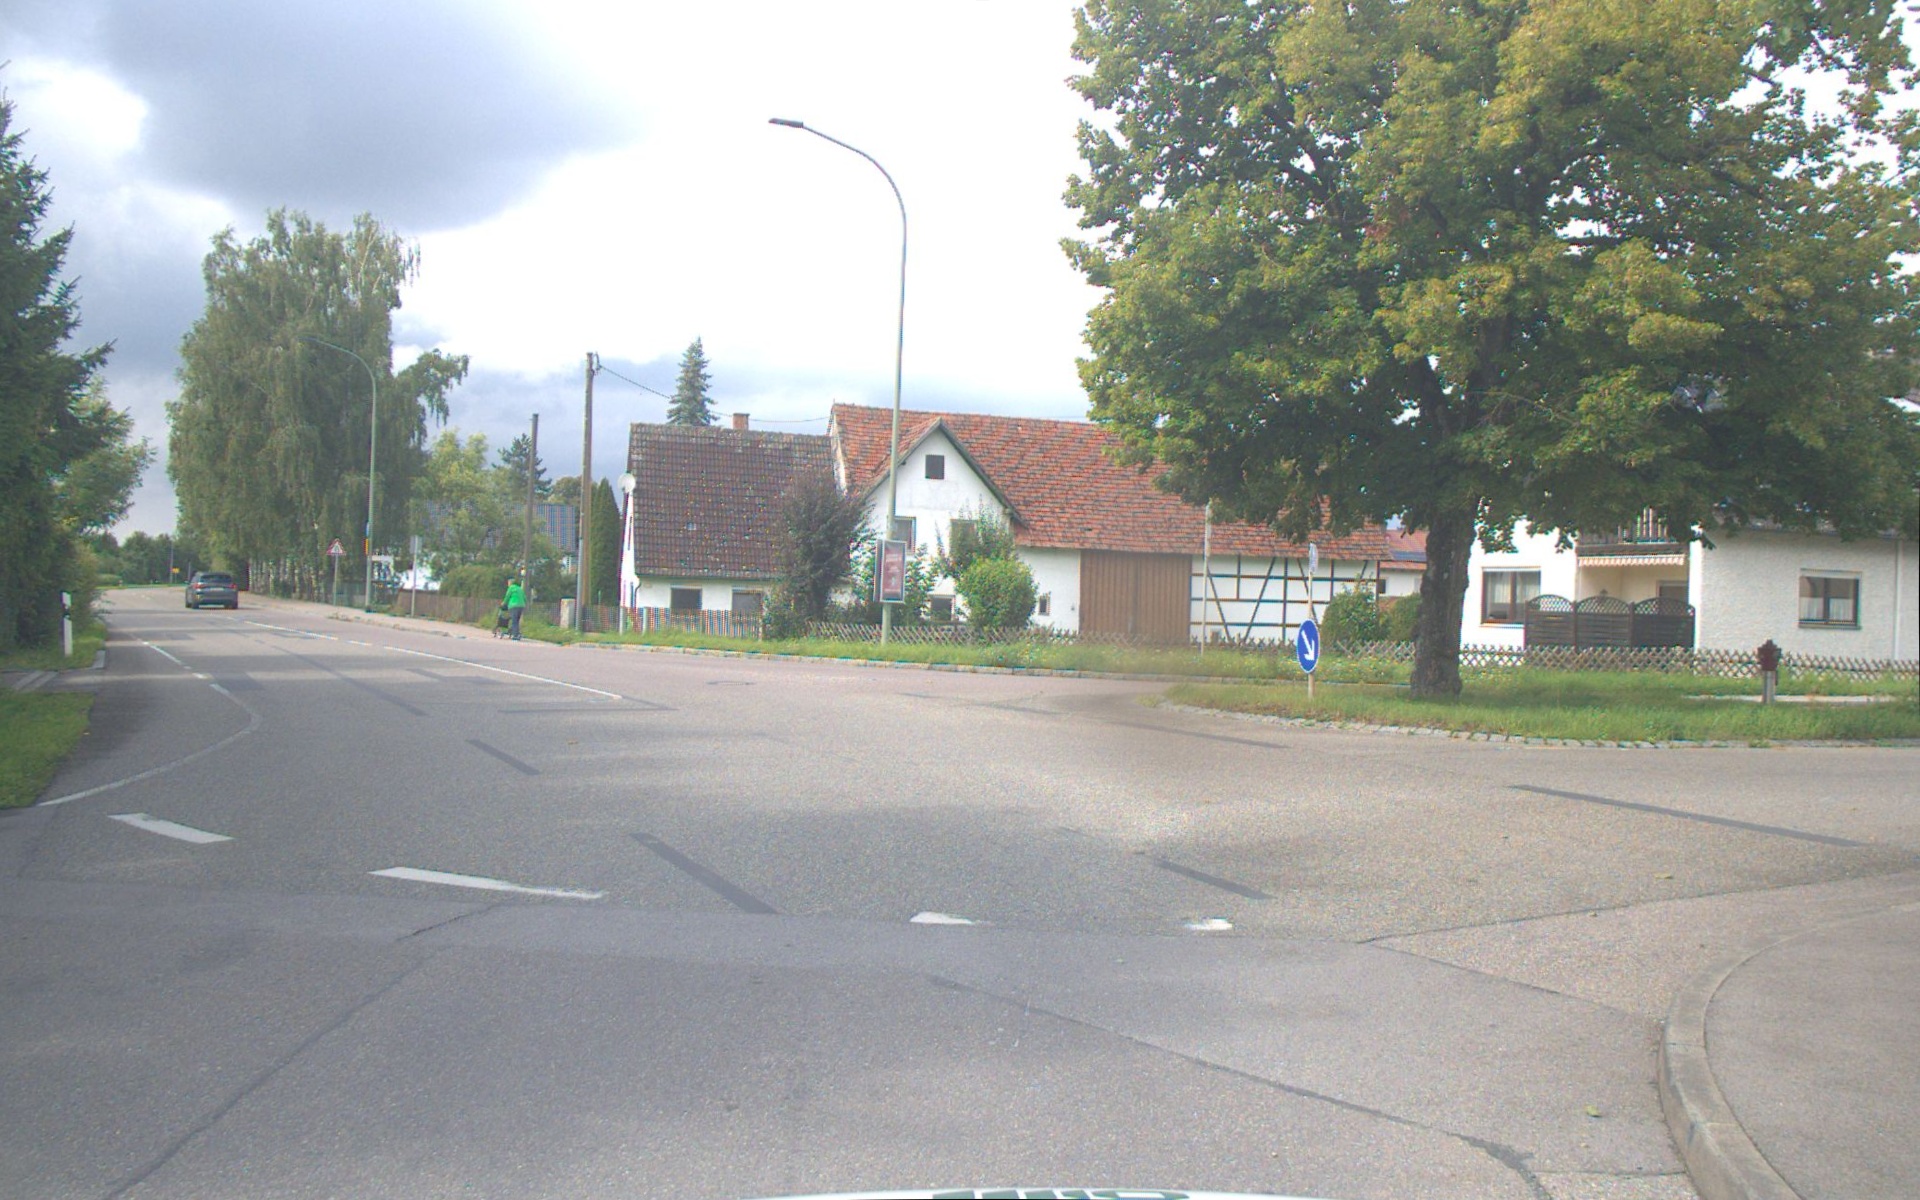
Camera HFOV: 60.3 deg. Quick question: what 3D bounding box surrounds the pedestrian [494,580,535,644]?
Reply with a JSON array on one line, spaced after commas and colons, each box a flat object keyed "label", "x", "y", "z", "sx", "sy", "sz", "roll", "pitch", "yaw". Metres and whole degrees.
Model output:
[{"label": "pedestrian", "x": -12.400, "y": 0.318, "z": 46.037, "sx": 0.781, "sy": 1.694, "sz": 0.704, "roll": 7, "pitch": -3, "yaw": -34}]

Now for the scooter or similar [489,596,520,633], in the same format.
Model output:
[{"label": "scooter or similar", "x": -12.827, "y": 0.409, "z": 46.580, "sx": 0.625, "sy": 0.964, "sz": 0.615, "roll": 7, "pitch": -3, "yaw": -33}]

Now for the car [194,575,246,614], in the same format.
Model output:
[{"label": "car", "x": -32.196, "y": -0.264, "z": 71.955, "sx": 1.968, "sy": 1.579, "sz": 3.970, "roll": 2, "pitch": 0, "yaw": -24}]
